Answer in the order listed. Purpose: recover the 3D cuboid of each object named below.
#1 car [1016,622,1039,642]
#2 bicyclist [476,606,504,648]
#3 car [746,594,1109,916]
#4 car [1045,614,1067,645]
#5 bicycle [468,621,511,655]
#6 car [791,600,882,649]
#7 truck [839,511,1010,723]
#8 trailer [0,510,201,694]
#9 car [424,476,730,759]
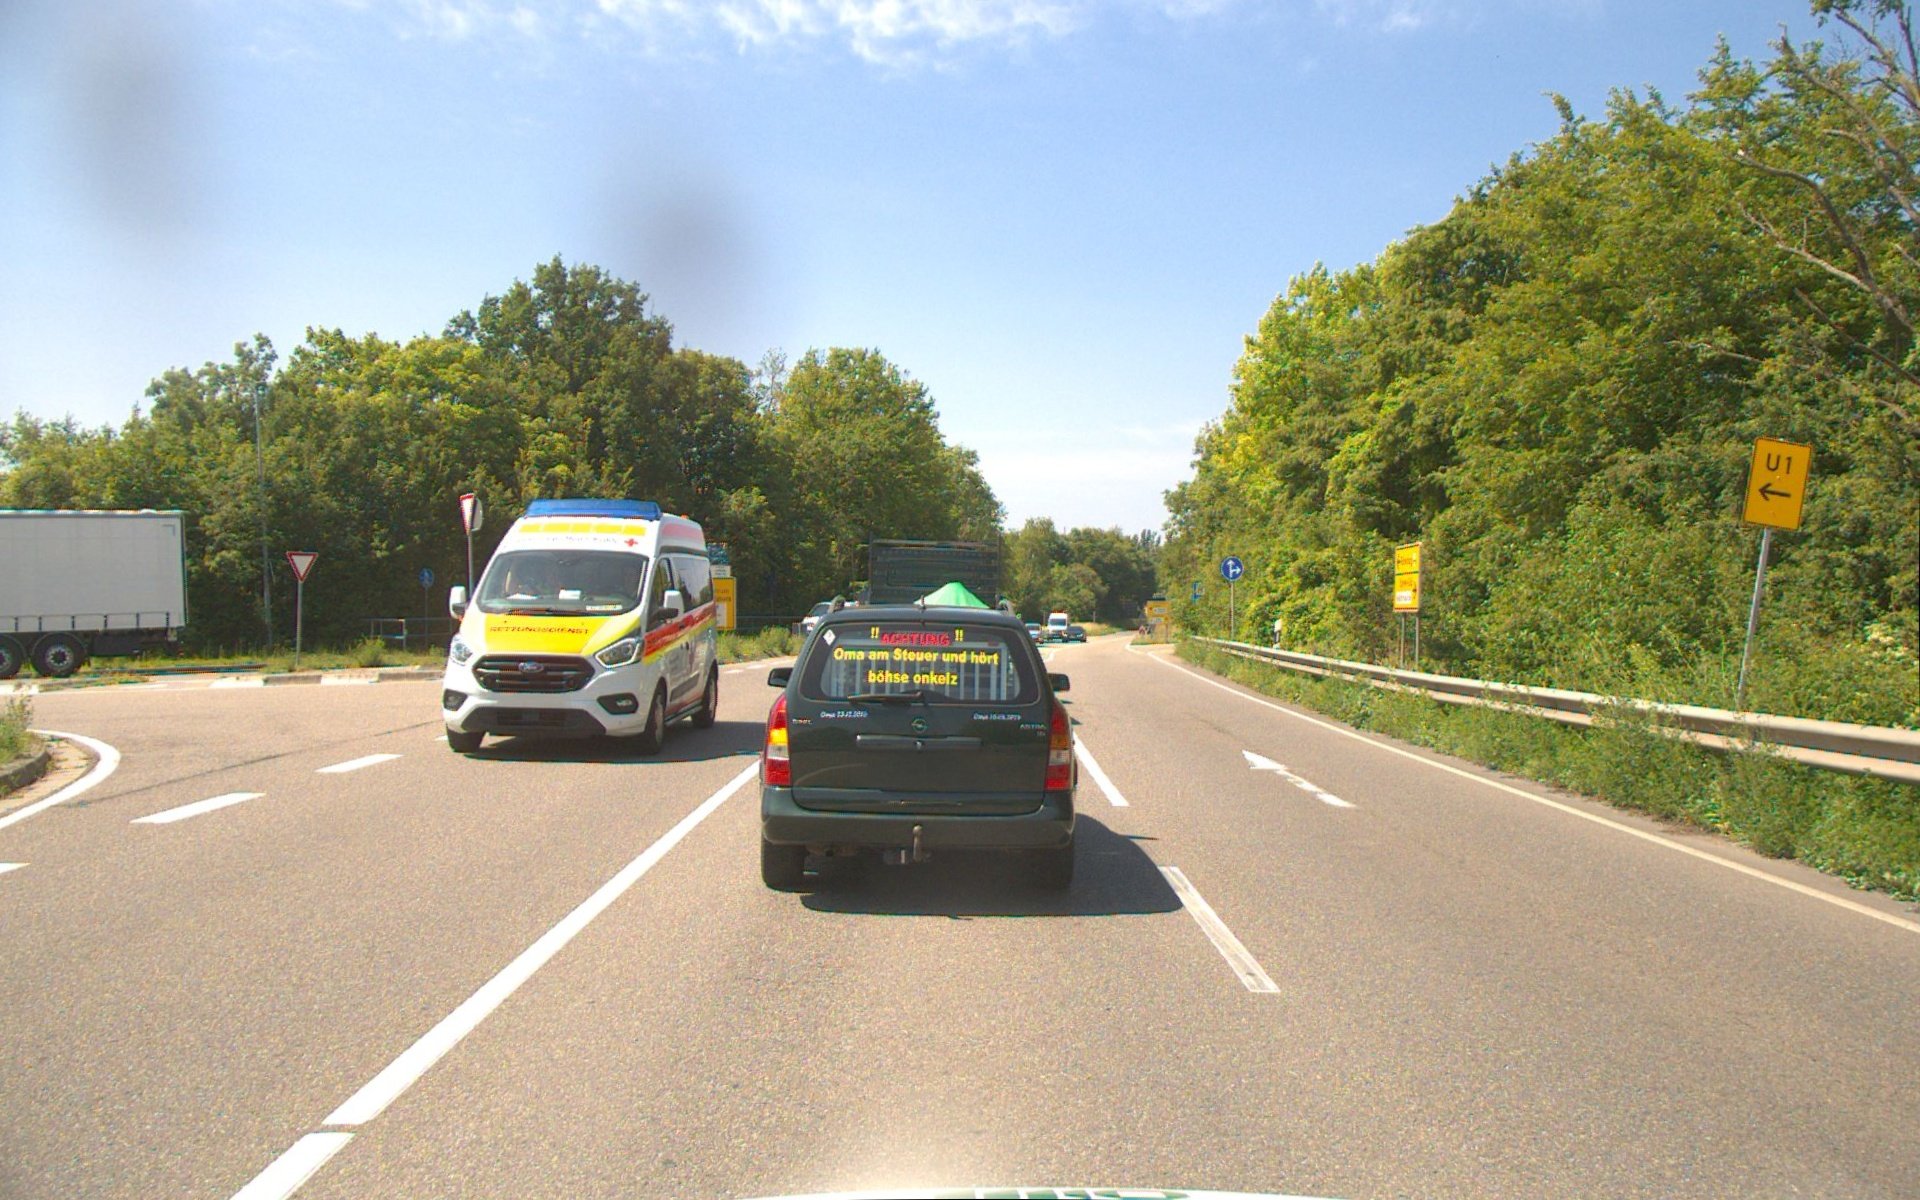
[{"bbox_3d":[4.963,2.351,121.609,1.610,1.443,3.767,1,-1,2],"label":"car"},{"bbox_3d":[-15.721,0.889,55.303,0.675,1.387,0.607,0,0,34],"label":"bicyclist"},{"bbox_3d":[-0.149,0.724,9.684,1.685,1.482,3.797,1,0,0],"label":"car"},{"bbox_3d":[9.226,2.855,159.331,2.061,2.900,6.014,1,-1,3],"label":"car"},{"bbox_3d":[-15.723,1.262,55.303,0.427,1.133,1.477,-1,-1,33],"label":"bicycle"},{"bbox_3d":[-5.147,0.983,69.903,1.968,1.957,5.196,1,0,18],"label":"car"},{"bbox_3d":[-0.358,0.215,23.854,2.094,2.610,6.640,1,0,1],"label":"truck"},{"bbox_3d":[-25.557,0.087,38.978,13.621,4.350,2.964,-2,2,-34],"label":"trailer"},{"bbox_3d":[-3.678,0.144,16.927,1.950,2.409,5.180,1,0,-1],"label":"car"}]
